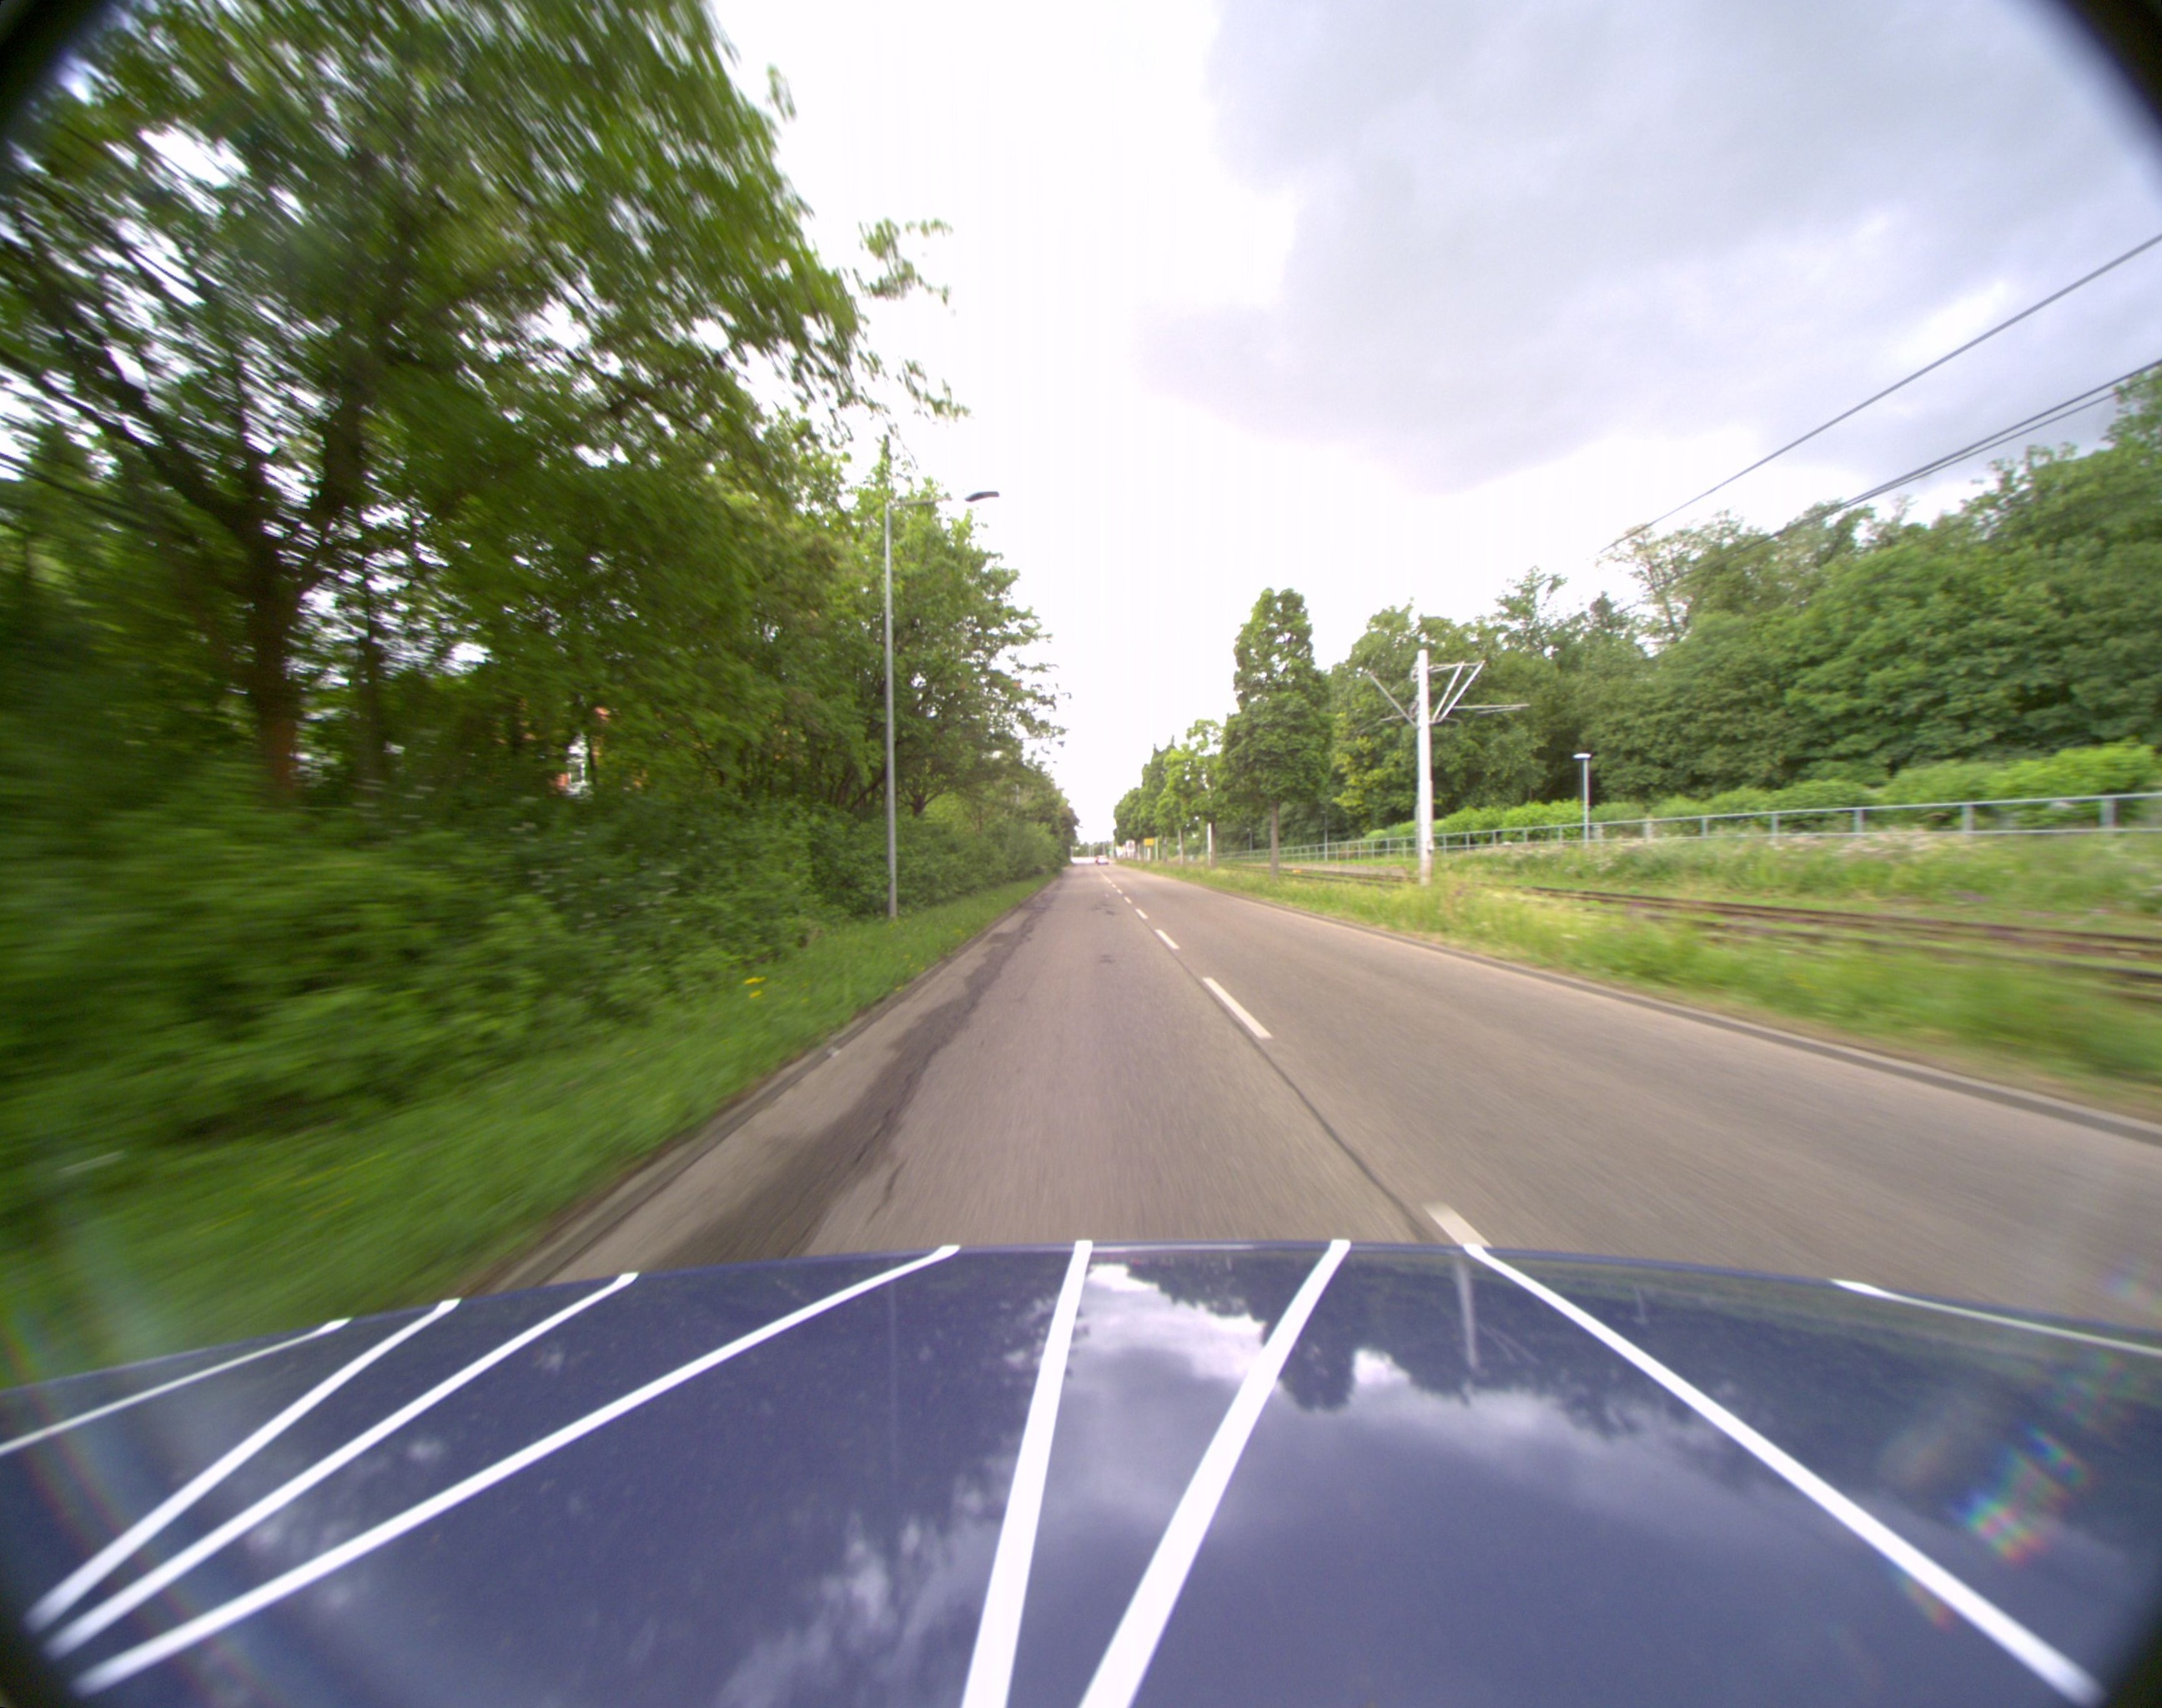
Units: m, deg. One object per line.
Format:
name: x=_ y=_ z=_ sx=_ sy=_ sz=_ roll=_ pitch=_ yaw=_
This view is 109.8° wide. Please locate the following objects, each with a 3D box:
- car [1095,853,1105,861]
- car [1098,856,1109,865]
car: x=4.045 y=0.635 z=163.212 sx=2.038 sy=1.508 sz=3.654 roll=-2 pitch=0 yaw=1
car: x=3.802 y=1.071 z=129.871 sx=1.778 sy=1.460 sz=4.241 roll=-2 pitch=0 yaw=1
